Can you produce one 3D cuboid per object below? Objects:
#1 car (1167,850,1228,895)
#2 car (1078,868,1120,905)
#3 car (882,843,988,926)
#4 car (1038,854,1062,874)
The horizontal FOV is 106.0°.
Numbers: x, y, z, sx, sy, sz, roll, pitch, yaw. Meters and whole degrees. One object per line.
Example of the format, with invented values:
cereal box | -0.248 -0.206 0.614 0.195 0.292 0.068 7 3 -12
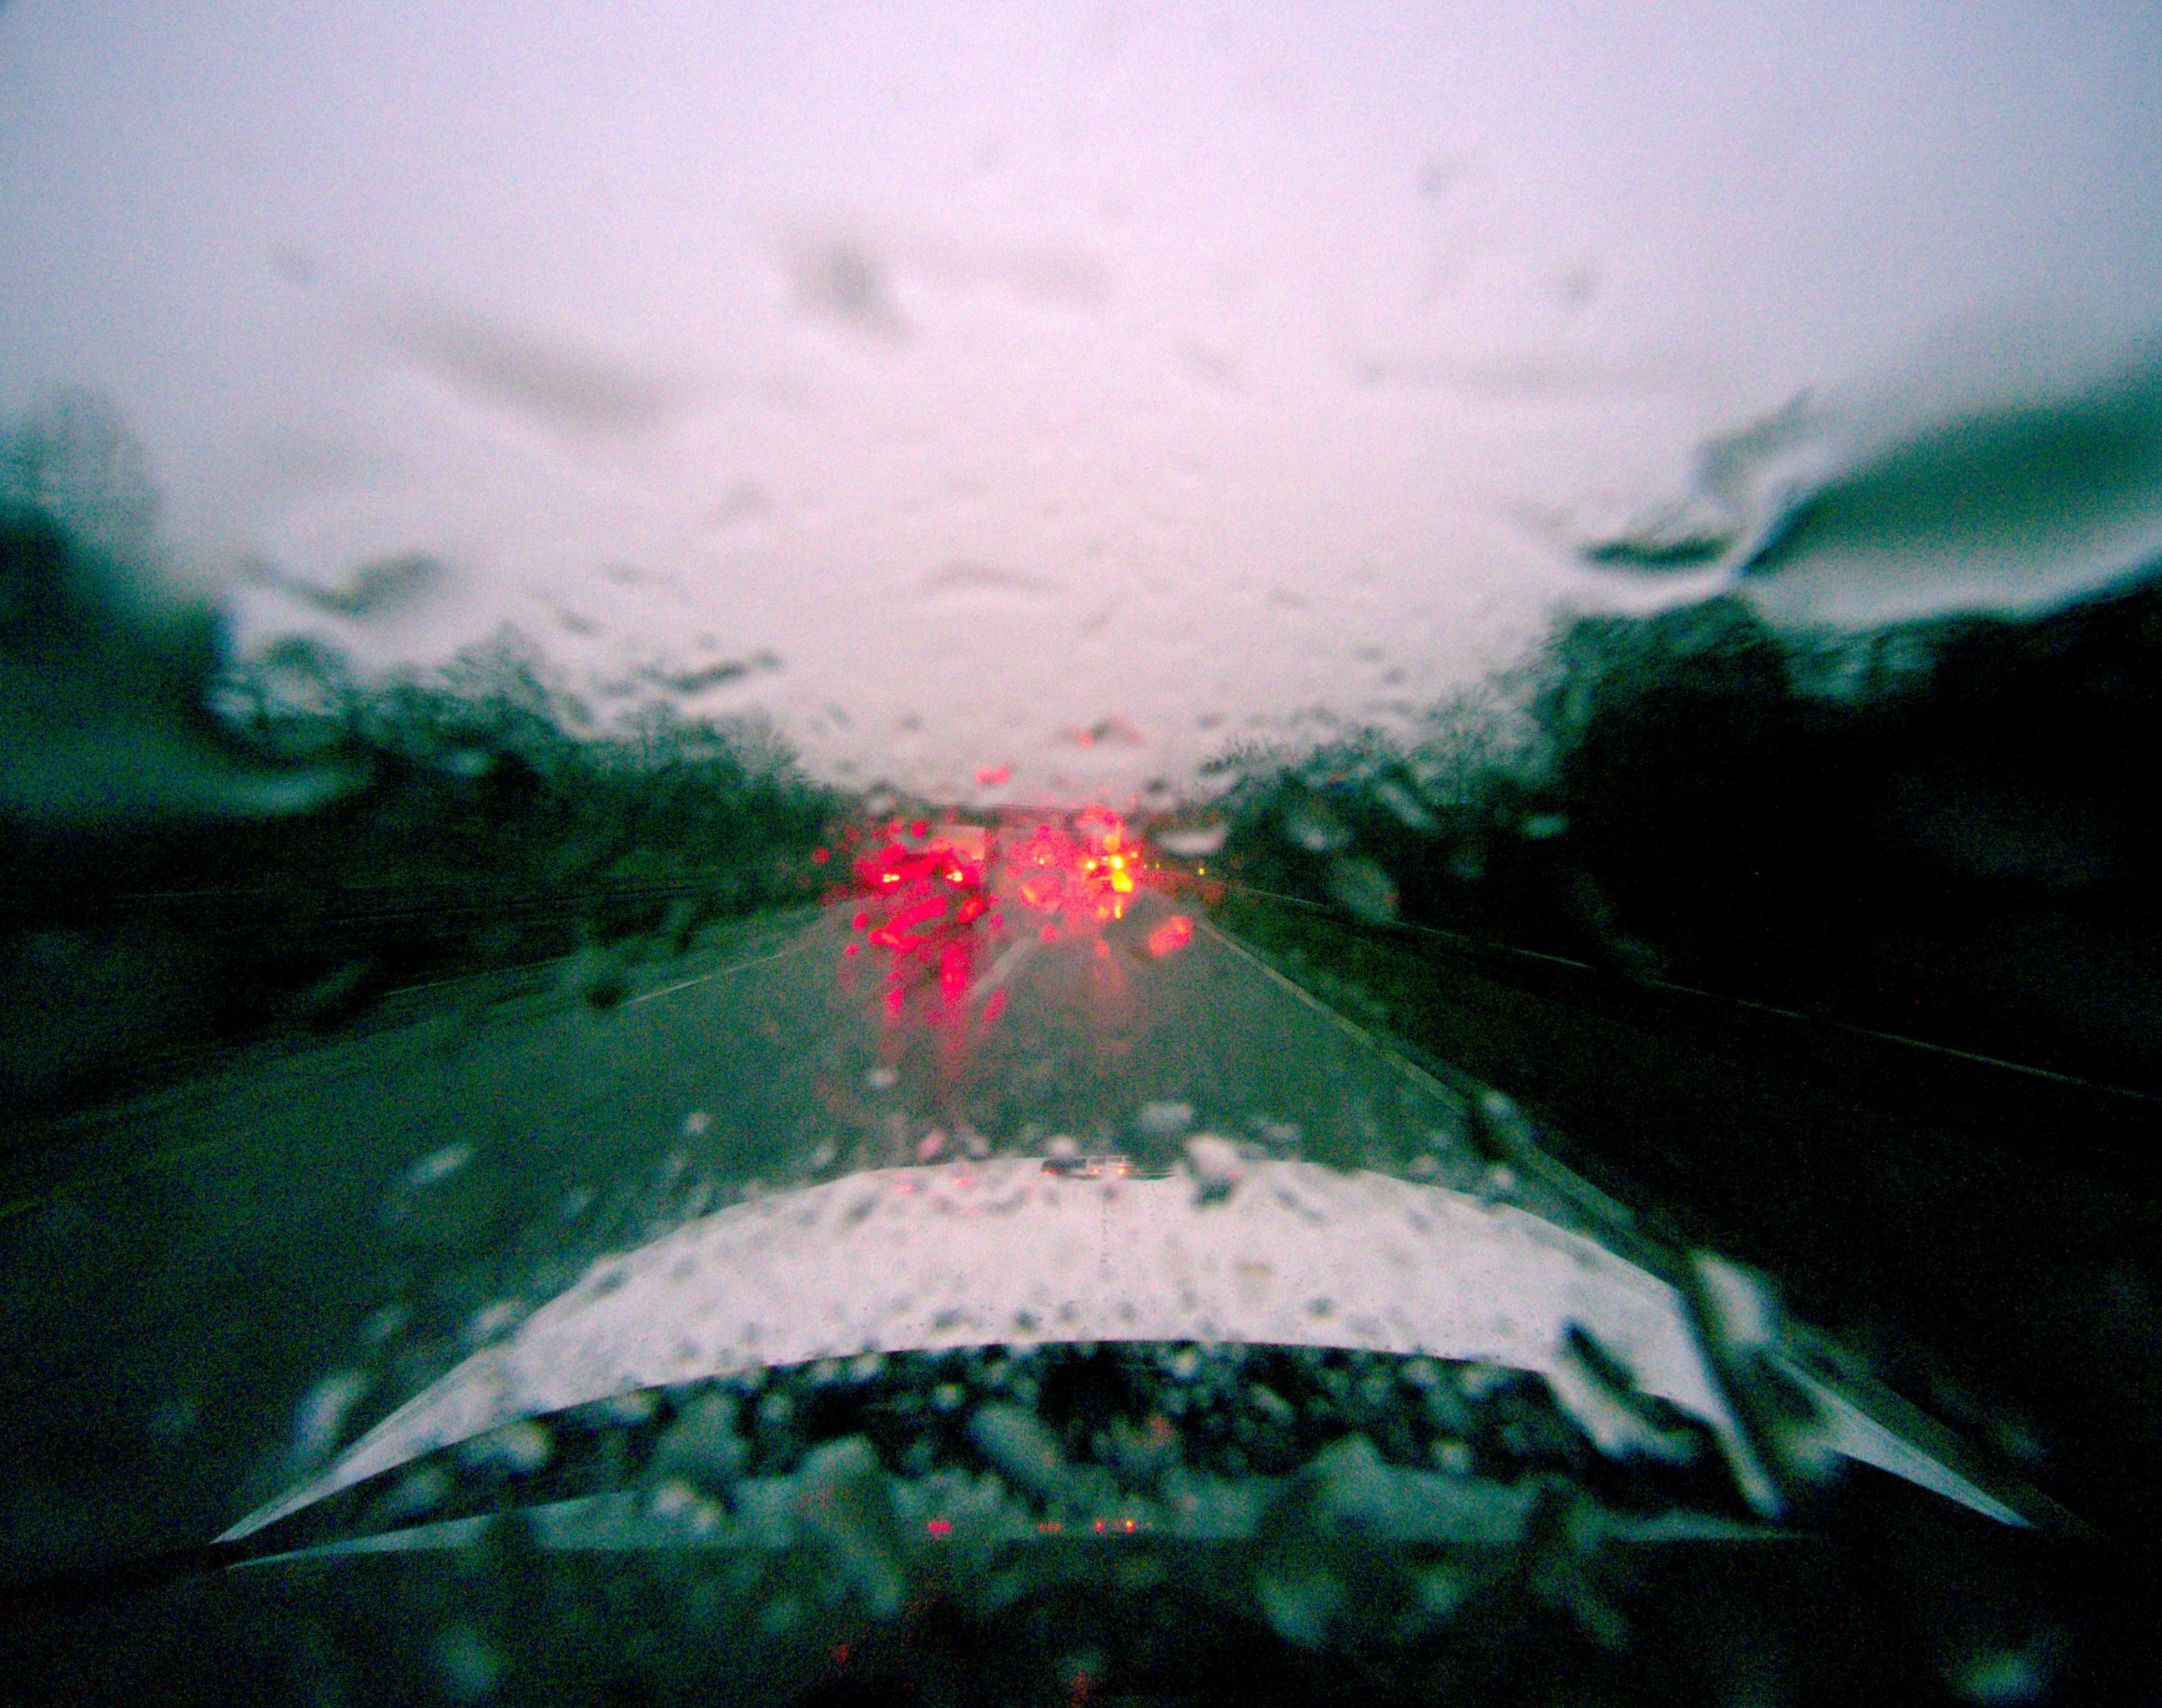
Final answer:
car | 3.907 0.622 27.879 1.676 1.418 3.876 -1 -1 2
car | 0.870 1.442 37.307 1.724 1.429 3.770 1 1 4
car | -3.231 0.629 18.760 1.990 1.665 3.993 -1 0 -5
car | -2.747 0.848 72.767 1.872 1.617 3.875 1 2 1
